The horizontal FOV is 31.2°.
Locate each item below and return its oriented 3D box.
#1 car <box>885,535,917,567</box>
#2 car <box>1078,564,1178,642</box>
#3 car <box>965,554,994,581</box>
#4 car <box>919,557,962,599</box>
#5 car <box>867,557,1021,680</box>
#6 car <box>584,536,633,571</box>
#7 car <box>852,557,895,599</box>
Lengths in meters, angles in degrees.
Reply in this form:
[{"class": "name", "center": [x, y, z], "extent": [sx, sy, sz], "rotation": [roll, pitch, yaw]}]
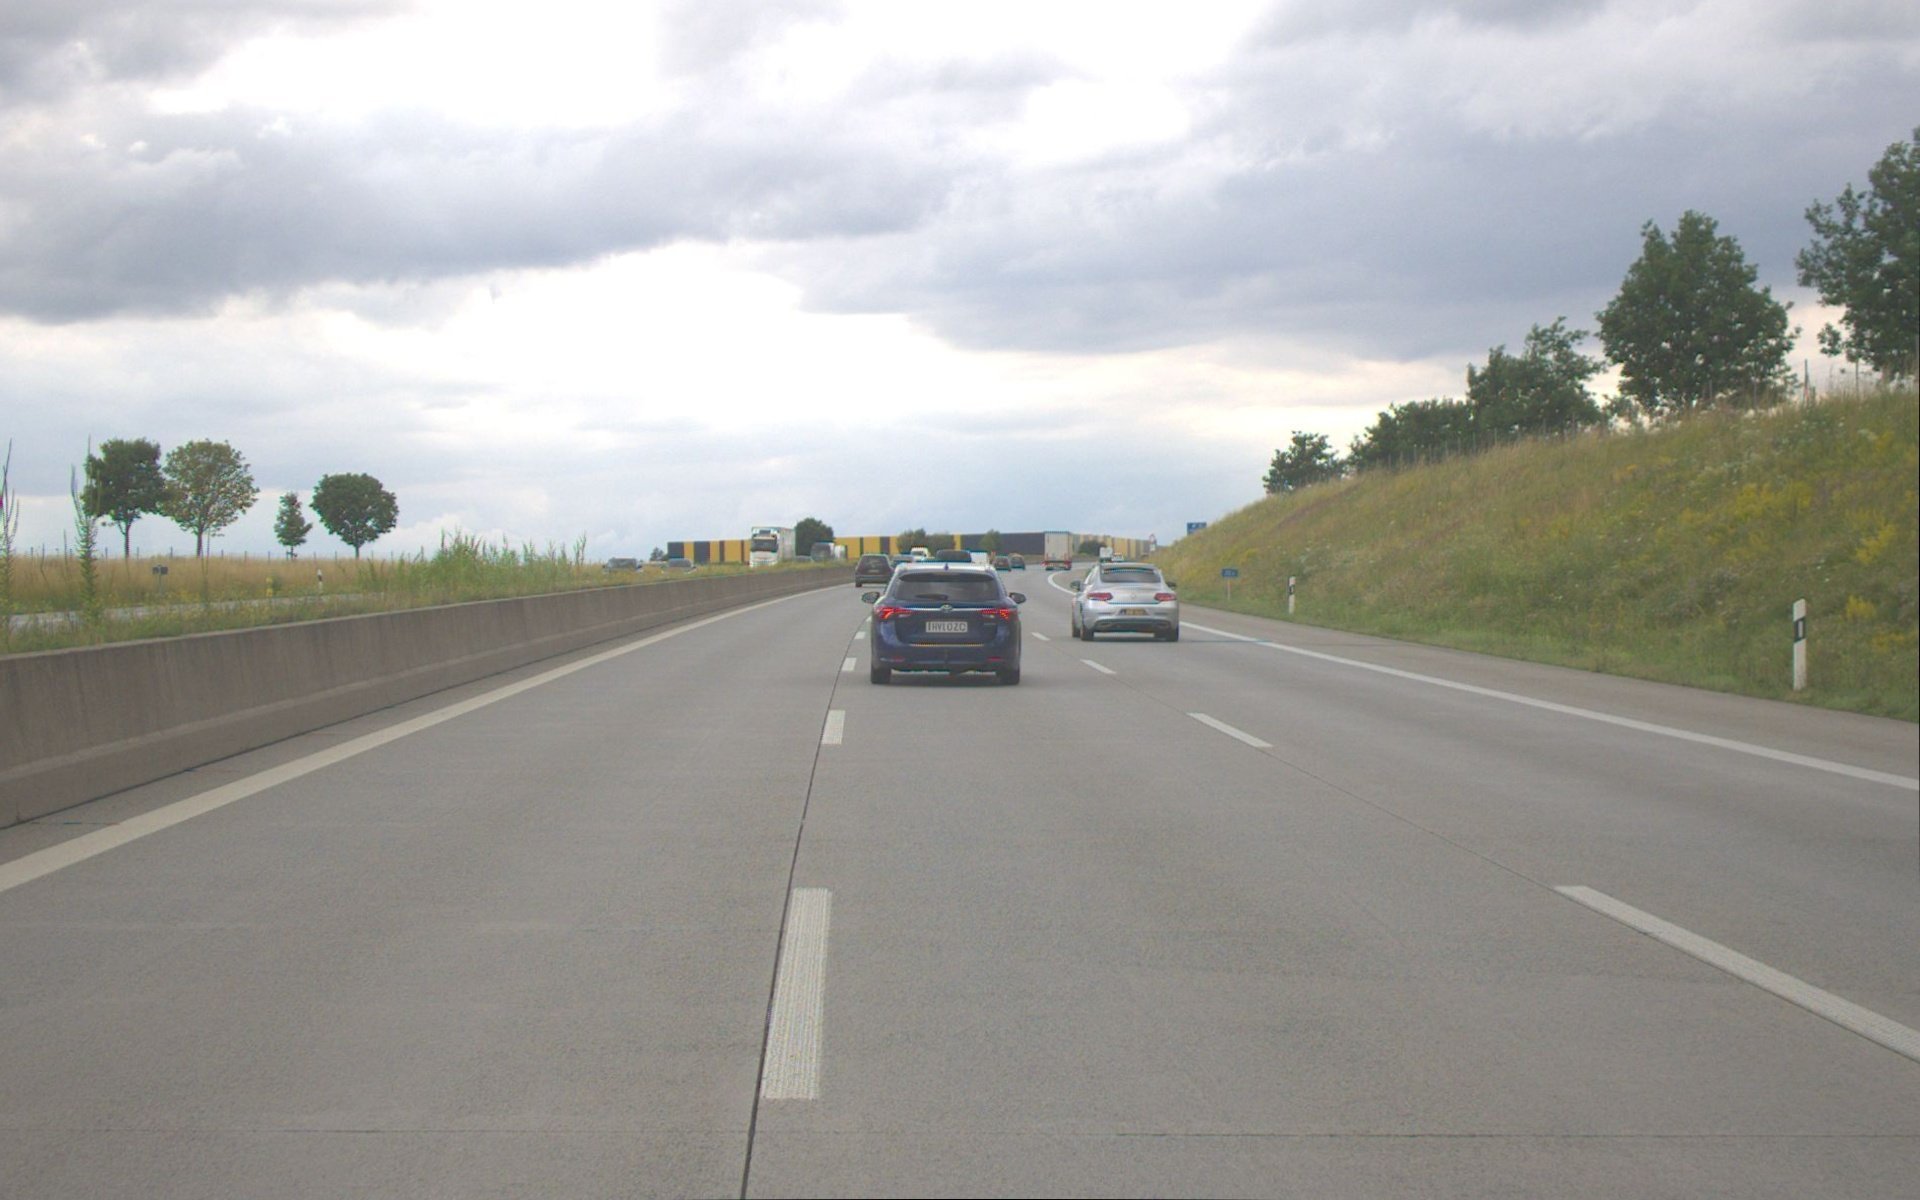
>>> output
[{"class": "car", "center": [-3.838, -3.153, 223.351], "extent": [1.993, 2.007, 4.000], "rotation": [1, 0, -2]}, {"class": "car", "center": [3.095, 0.040, 63.757], "extent": [1.789, 1.399, 4.221], "rotation": [0, 0, 2]}, {"class": "car", "center": [1.478, -2.437, 260.664], "extent": [1.994, 2.007, 4.000], "rotation": [1, 0, 3]}, {"class": "car", "center": [-0.965, -1.084, 168.307], "extent": [1.993, 2.007, 4.000], "rotation": [1, 0, -2]}, {"class": "car", "center": [-0.161, 0.200, 41.574], "extent": [1.774, 1.408, 4.000], "rotation": [0, 0, 1]}, {"class": "car", "center": [-17.129, -2.258, 167.527], "extent": [1.993, 1.678, 4.063], "rotation": [0, 1, 0]}, {"class": "car", "center": [-4.257, -1.067, 169.462], "extent": [2.046, 2.007, 4.000], "rotation": [1, 0, -2]}]
